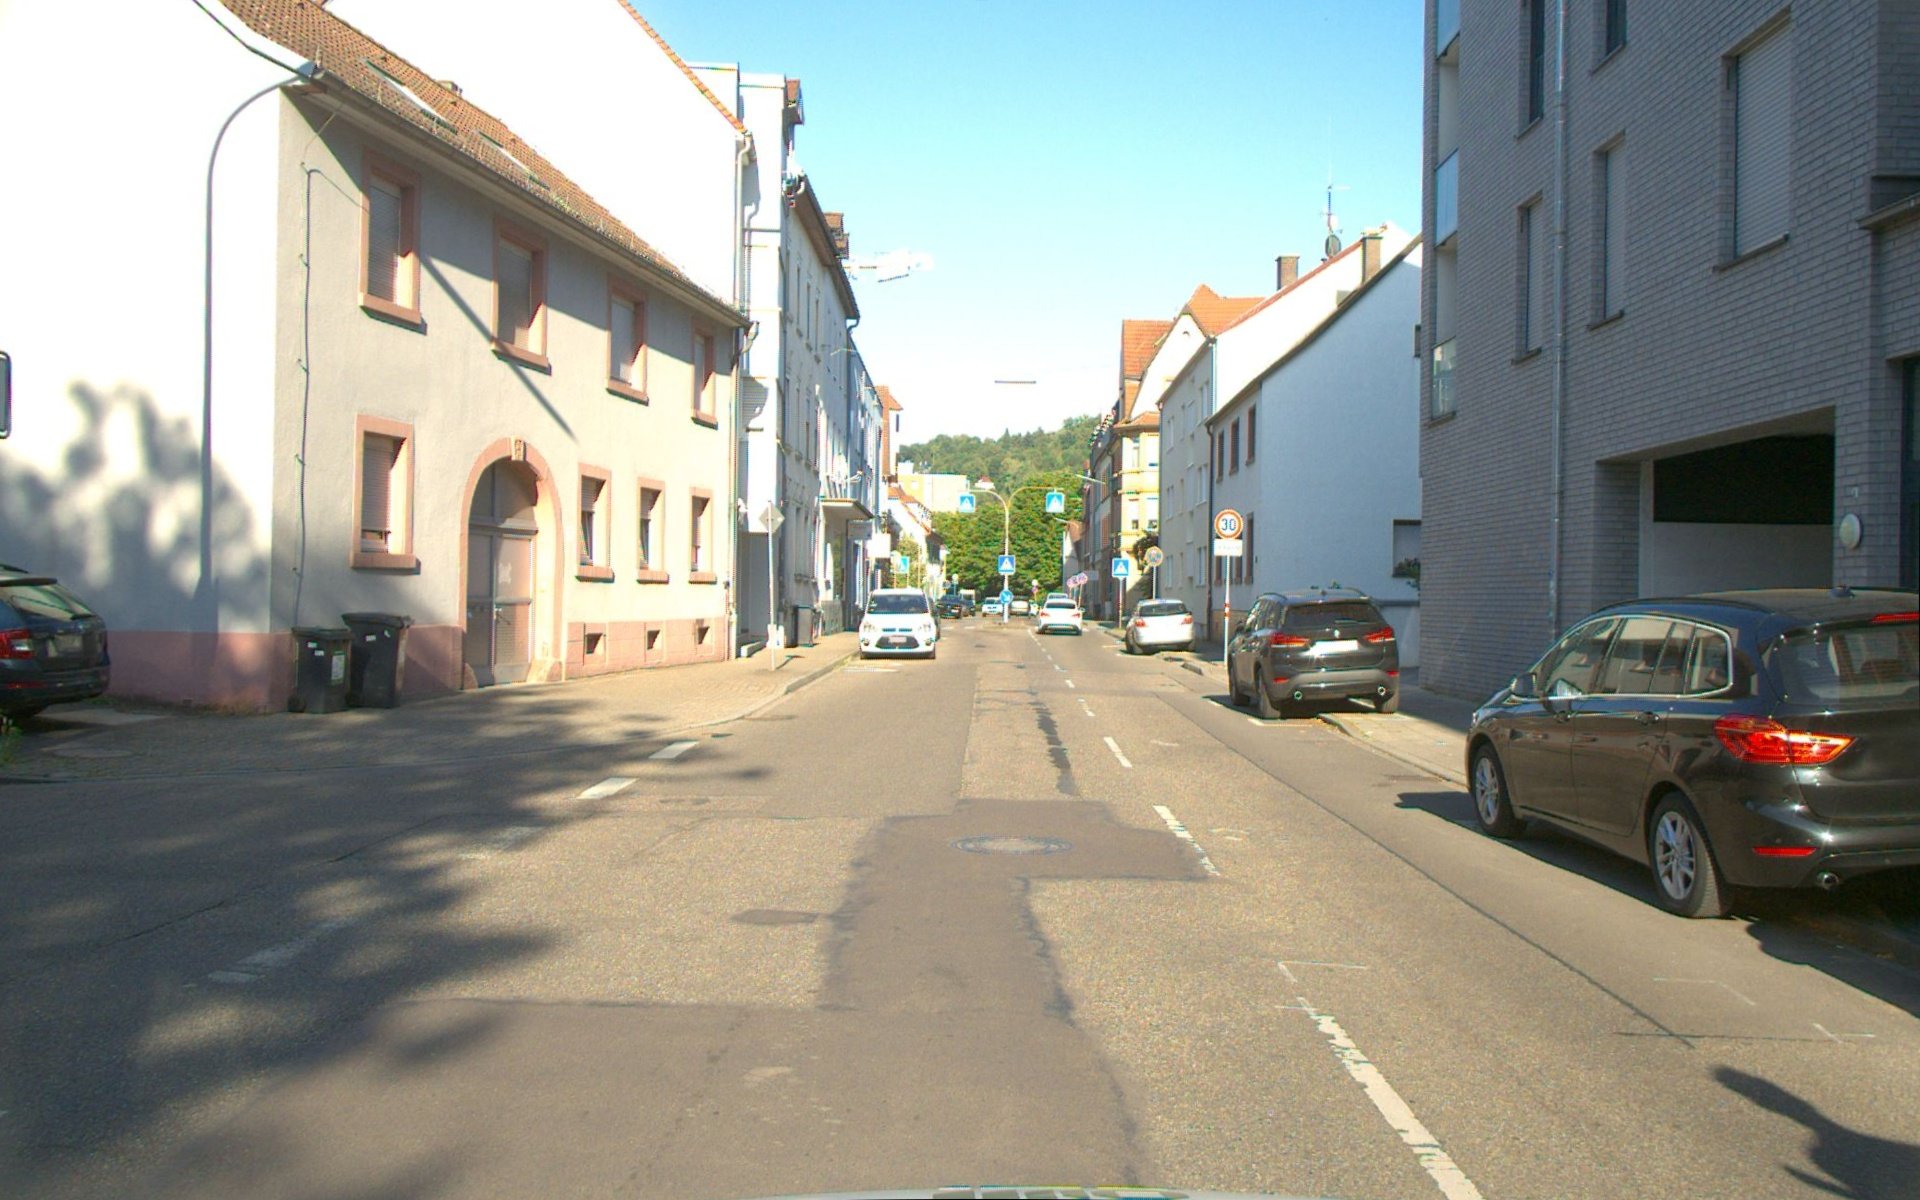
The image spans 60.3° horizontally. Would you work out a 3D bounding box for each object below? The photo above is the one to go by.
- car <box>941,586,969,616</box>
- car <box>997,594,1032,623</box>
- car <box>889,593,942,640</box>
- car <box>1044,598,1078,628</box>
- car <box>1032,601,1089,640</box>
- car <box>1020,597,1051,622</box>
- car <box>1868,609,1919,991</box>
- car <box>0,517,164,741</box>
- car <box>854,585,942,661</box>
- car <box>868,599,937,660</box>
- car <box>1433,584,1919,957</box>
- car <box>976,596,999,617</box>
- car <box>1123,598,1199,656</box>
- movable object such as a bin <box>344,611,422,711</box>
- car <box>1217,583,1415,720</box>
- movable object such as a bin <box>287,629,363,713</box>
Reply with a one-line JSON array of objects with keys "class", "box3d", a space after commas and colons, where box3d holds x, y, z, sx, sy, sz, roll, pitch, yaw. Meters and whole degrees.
[{"class": "car", "box3d": [-0.368, 0.041, 117.049, 1.953, 2.049, 3.999, 1, 0, -1]}, {"class": "car", "box3d": [4.021, 0.613, 121.898, 1.956, 2.049, 3.994, 1, 0, -7]}, {"class": "car", "box3d": [-1.506, 0.575, 56.776, 1.695, 1.525, 3.958, 1, -1, 0]}, {"class": "car", "box3d": [6.787, 0.861, 111.080, 1.970, 1.885, 4.000, 2, 1, 0]}, {"class": "car", "box3d": [4.013, 0.793, 66.456, 1.953, 1.492, 3.999, 1, 0, -1]}, {"class": "car", "box3d": [6.359, 0.796, 139.744, 1.956, 2.049, 3.993, 1, 0, -8]}, {"class": "car", "box3d": [4.852, 0.836, 4.859, 1.953, 1.532, 4.366, 1, 0, 0]}, {"class": "car", "box3d": [-10.055, 0.100, 15.367, 4.274, 1.825, 1.989, 5, 3, 2]}, {"class": "car", "box3d": [-1.495, 0.511, 40.231, 1.953, 1.676, 5.220, 2, 0, -2]}, {"class": "car", "box3d": [-1.519, 0.761, 44.953, 1.729, 1.522, 4.126, -1, 0, -1]}, {"class": "car", "box3d": [4.577, 0.769, 9.969, 1.953, 1.682, 4.761, 1, 1, -2]}, {"class": "car", "box3d": [2.349, 0.527, 142.243, 1.771, 1.731, 4.190, -1, 0, -3]}, {"class": "car", "box3d": [5.565, 0.718, 46.267, 1.705, 1.518, 4.440, -1, 0, 2]}, {"class": "movable object such as a bin", "box3d": [-6.647, 0.690, 19.072, 0.586, 1.113, 0.751, 2, 0, 1]}, {"class": "car", "box3d": [4.783, 0.621, 22.882, 1.816, 1.665, 4.624, -1, 0, 1]}, {"class": "movable object such as a bin", "box3d": [-6.945, 0.769, 18.102, 0.586, 0.887, 0.606, 1, 0, -1]}]
